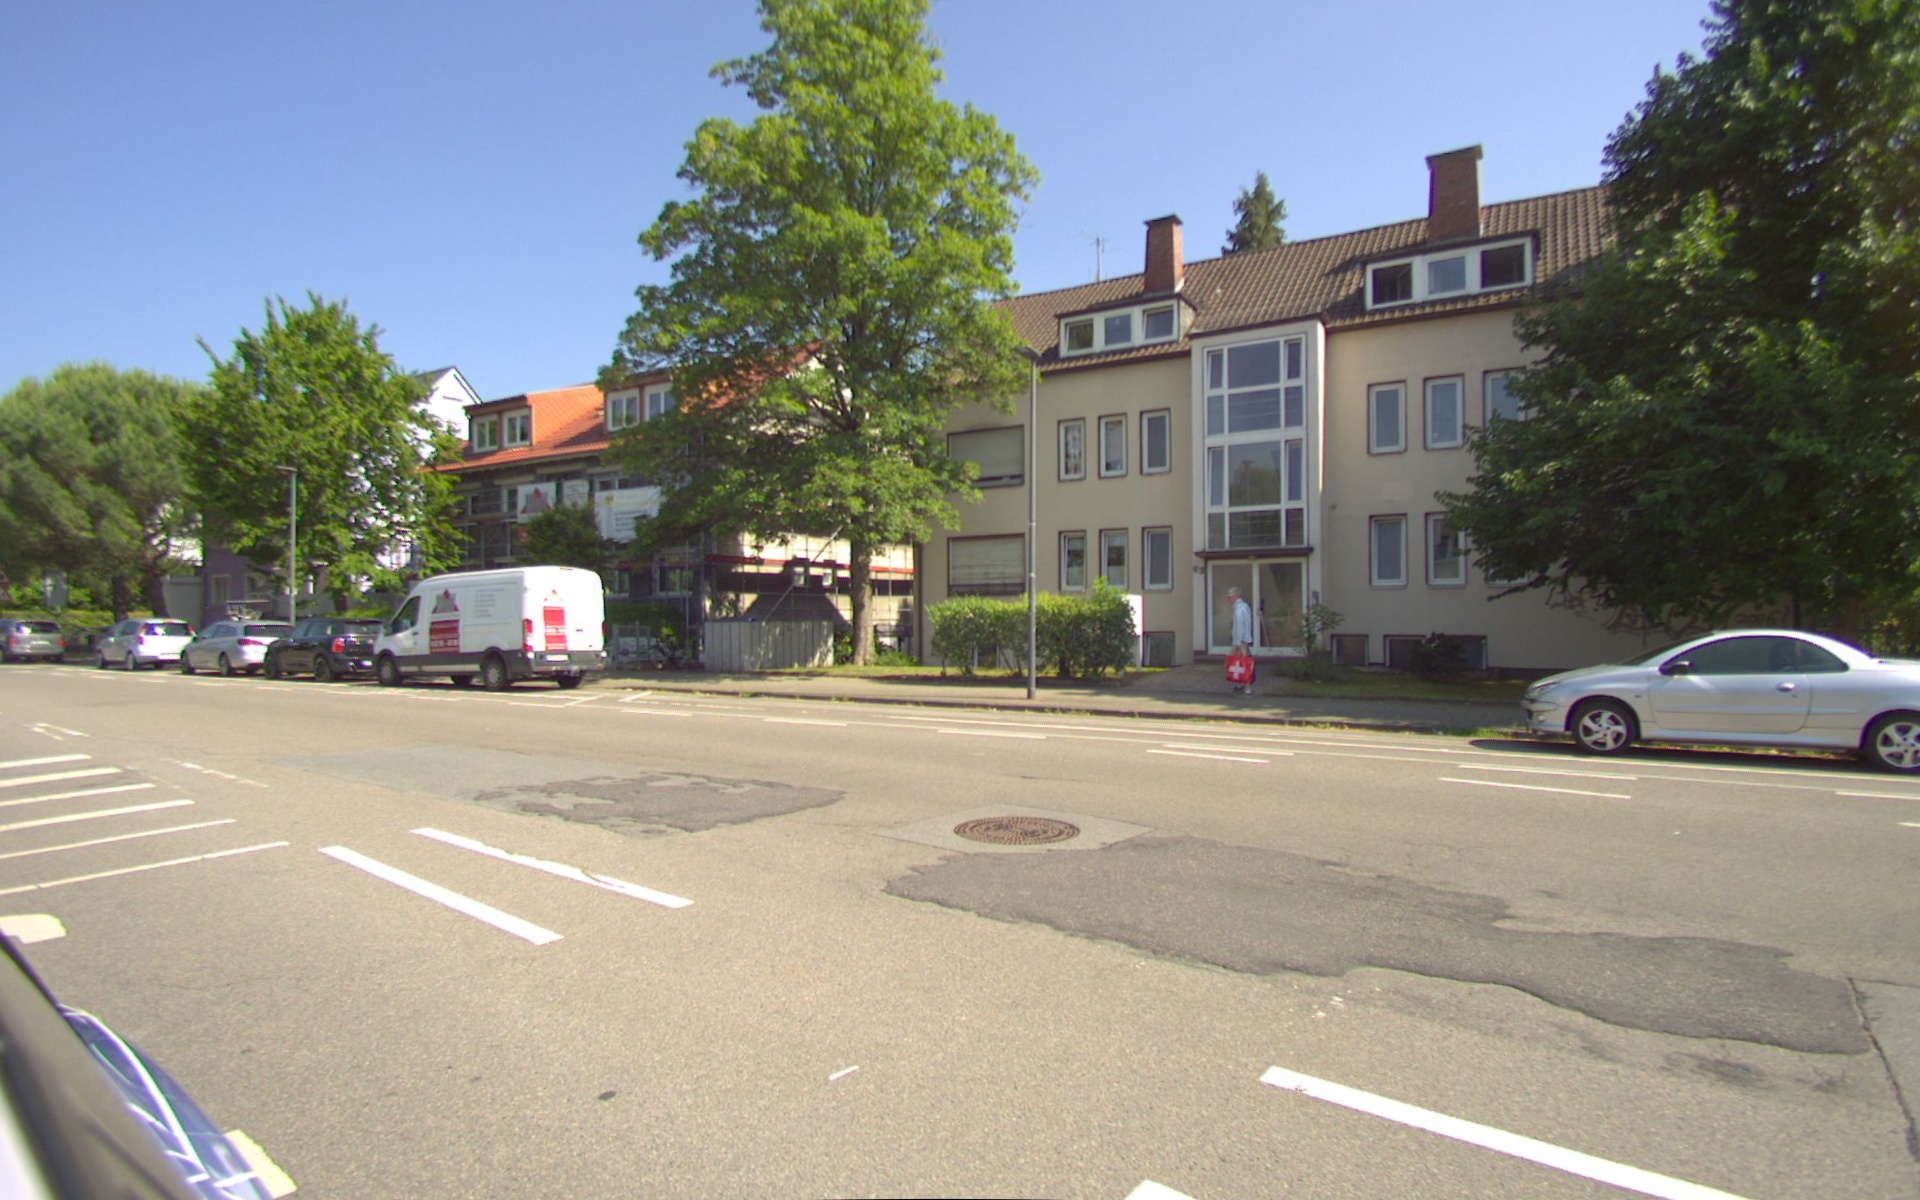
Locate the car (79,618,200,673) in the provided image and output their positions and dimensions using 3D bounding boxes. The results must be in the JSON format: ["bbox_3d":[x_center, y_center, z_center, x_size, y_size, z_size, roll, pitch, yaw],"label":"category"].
[{"bbox_3d":[-24.985,1.377,30.805,3.988,1.571,1.706,-2,-3,33],"label":"car"}]

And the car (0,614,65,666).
[{"bbox_3d":[-34.258,1.452,36.416,4.569,1.778,1.827,-2,-3,32],"label":"car"}]

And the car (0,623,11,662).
[{"bbox_3d":[-38.788,1.665,39.260,4.179,1.468,1.827,-2,-3,32],"label":"car"}]

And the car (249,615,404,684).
[{"bbox_3d":[-15.595,1.204,24.858,3.988,1.571,1.706,-2,-3,33],"label":"car"}]

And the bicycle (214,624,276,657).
[{"bbox_3d":[-30.440,1.718,43.121,0.501,1.394,2.157,-2,-3,28],"label":"bicycle"}]

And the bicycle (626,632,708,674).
[{"bbox_3d":[-7.605,1.354,26.338,0.774,1.008,2.051,-1,-1,34],"label":"bicycle"}]

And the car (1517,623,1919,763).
[{"bbox_3d":[8.199,0.906,10.640,3.988,1.276,1.706,-2,-3,33],"label":"car"}]

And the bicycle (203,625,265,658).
[{"bbox_3d":[-31.341,1.782,43.730,0.500,1.394,2.157,-2,-3,28],"label":"bicycle"}]

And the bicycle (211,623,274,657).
[{"bbox_3d":[-30.135,1.678,42.544,0.501,1.394,2.157,-2,-3,28],"label":"bicycle"}]

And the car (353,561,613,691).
[{"bbox_3d":[-10.417,0.597,21.949,5.928,2.516,2.074,-2,-3,30],"label":"car"}]

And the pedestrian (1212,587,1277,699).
[{"bbox_3d":[4.707,0.695,16.745,0.724,1.793,0.965,-1,-1,37],"label":"pedestrian"}]

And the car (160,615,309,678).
[{"bbox_3d":[-19.745,1.251,27.495,4.658,1.571,1.706,-2,-3,33],"label":"car"}]
